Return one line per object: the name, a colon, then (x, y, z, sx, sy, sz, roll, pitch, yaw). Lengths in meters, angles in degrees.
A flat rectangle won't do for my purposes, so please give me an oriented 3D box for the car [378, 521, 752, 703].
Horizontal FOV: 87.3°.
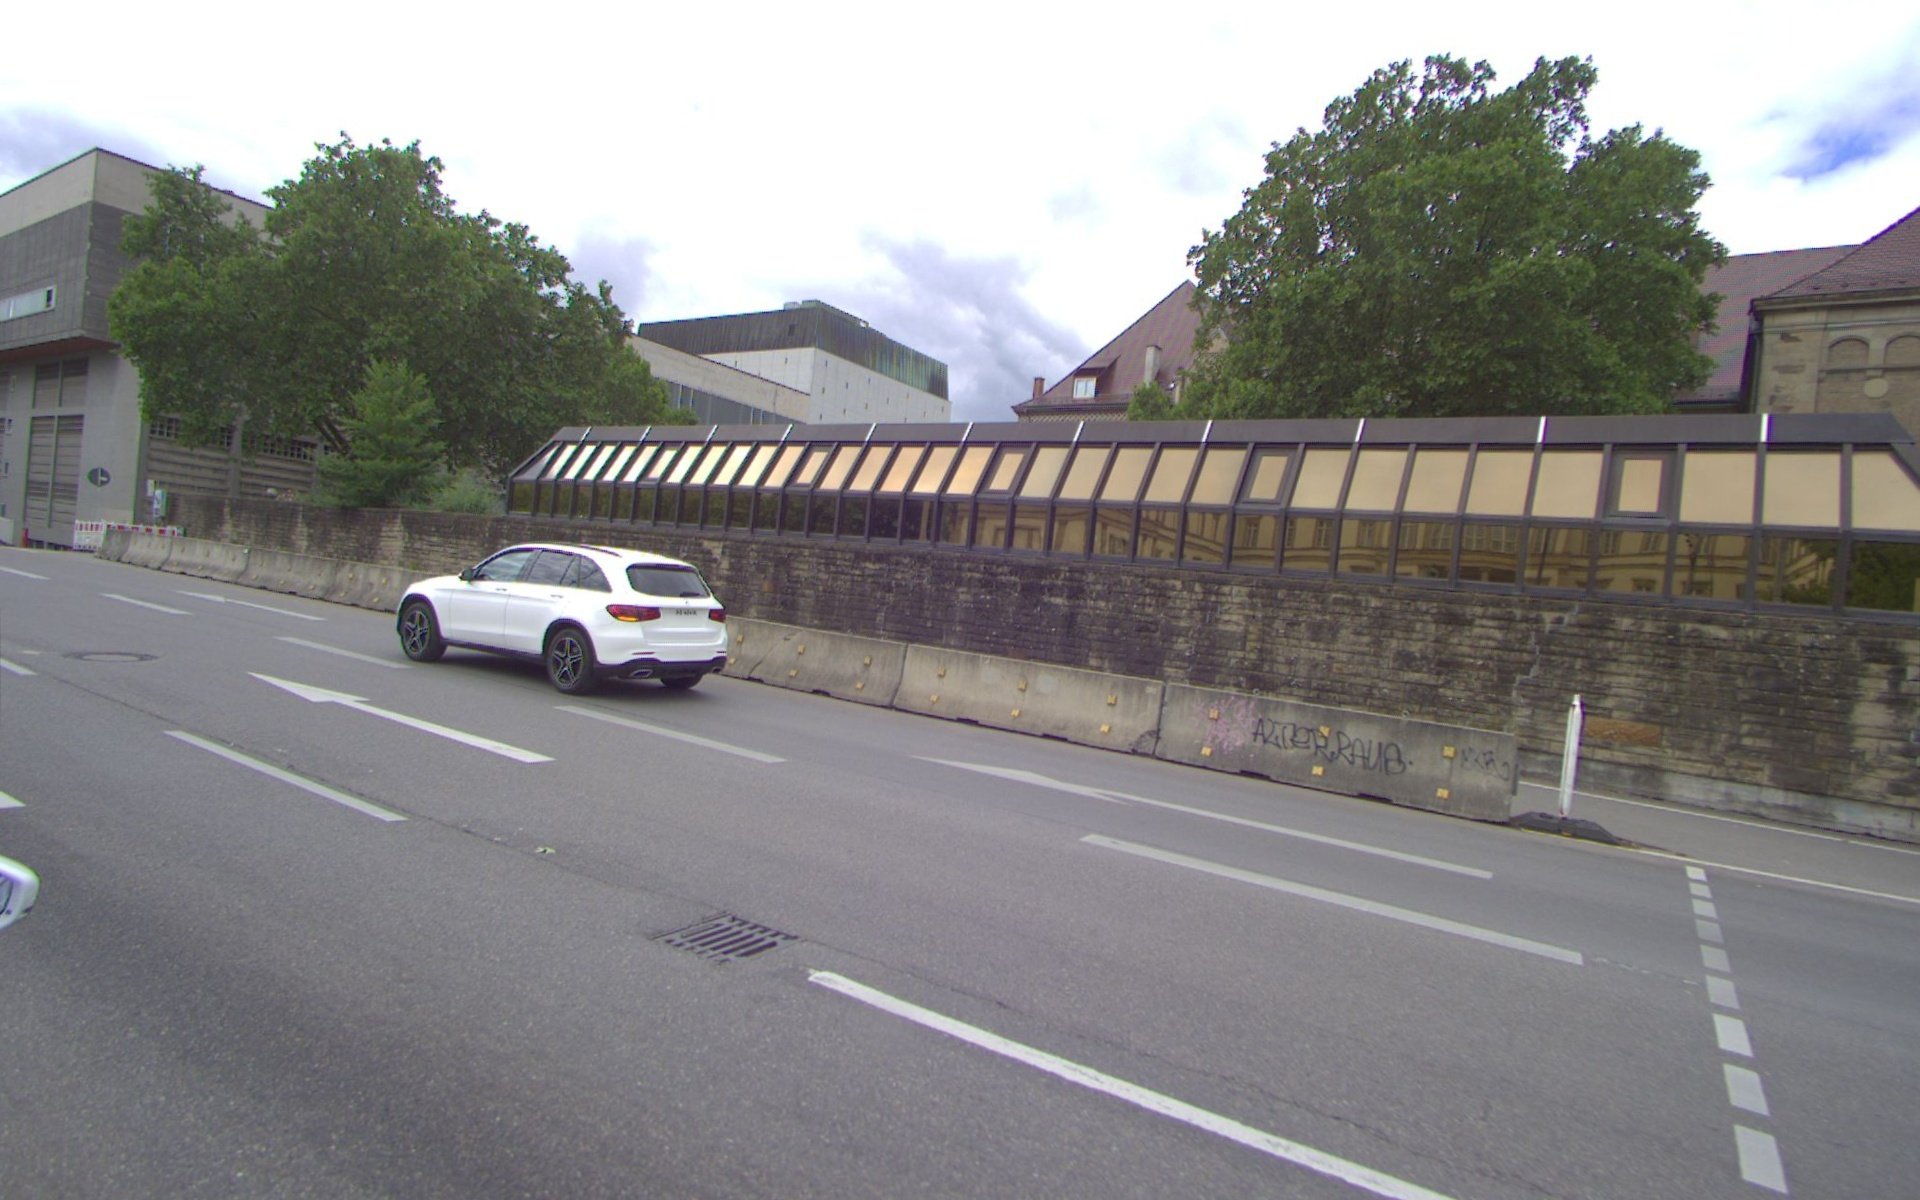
car: (-4.933, 0.077, 12.398, 4.474, 1.664, 1.813, 6, 2, 30)
